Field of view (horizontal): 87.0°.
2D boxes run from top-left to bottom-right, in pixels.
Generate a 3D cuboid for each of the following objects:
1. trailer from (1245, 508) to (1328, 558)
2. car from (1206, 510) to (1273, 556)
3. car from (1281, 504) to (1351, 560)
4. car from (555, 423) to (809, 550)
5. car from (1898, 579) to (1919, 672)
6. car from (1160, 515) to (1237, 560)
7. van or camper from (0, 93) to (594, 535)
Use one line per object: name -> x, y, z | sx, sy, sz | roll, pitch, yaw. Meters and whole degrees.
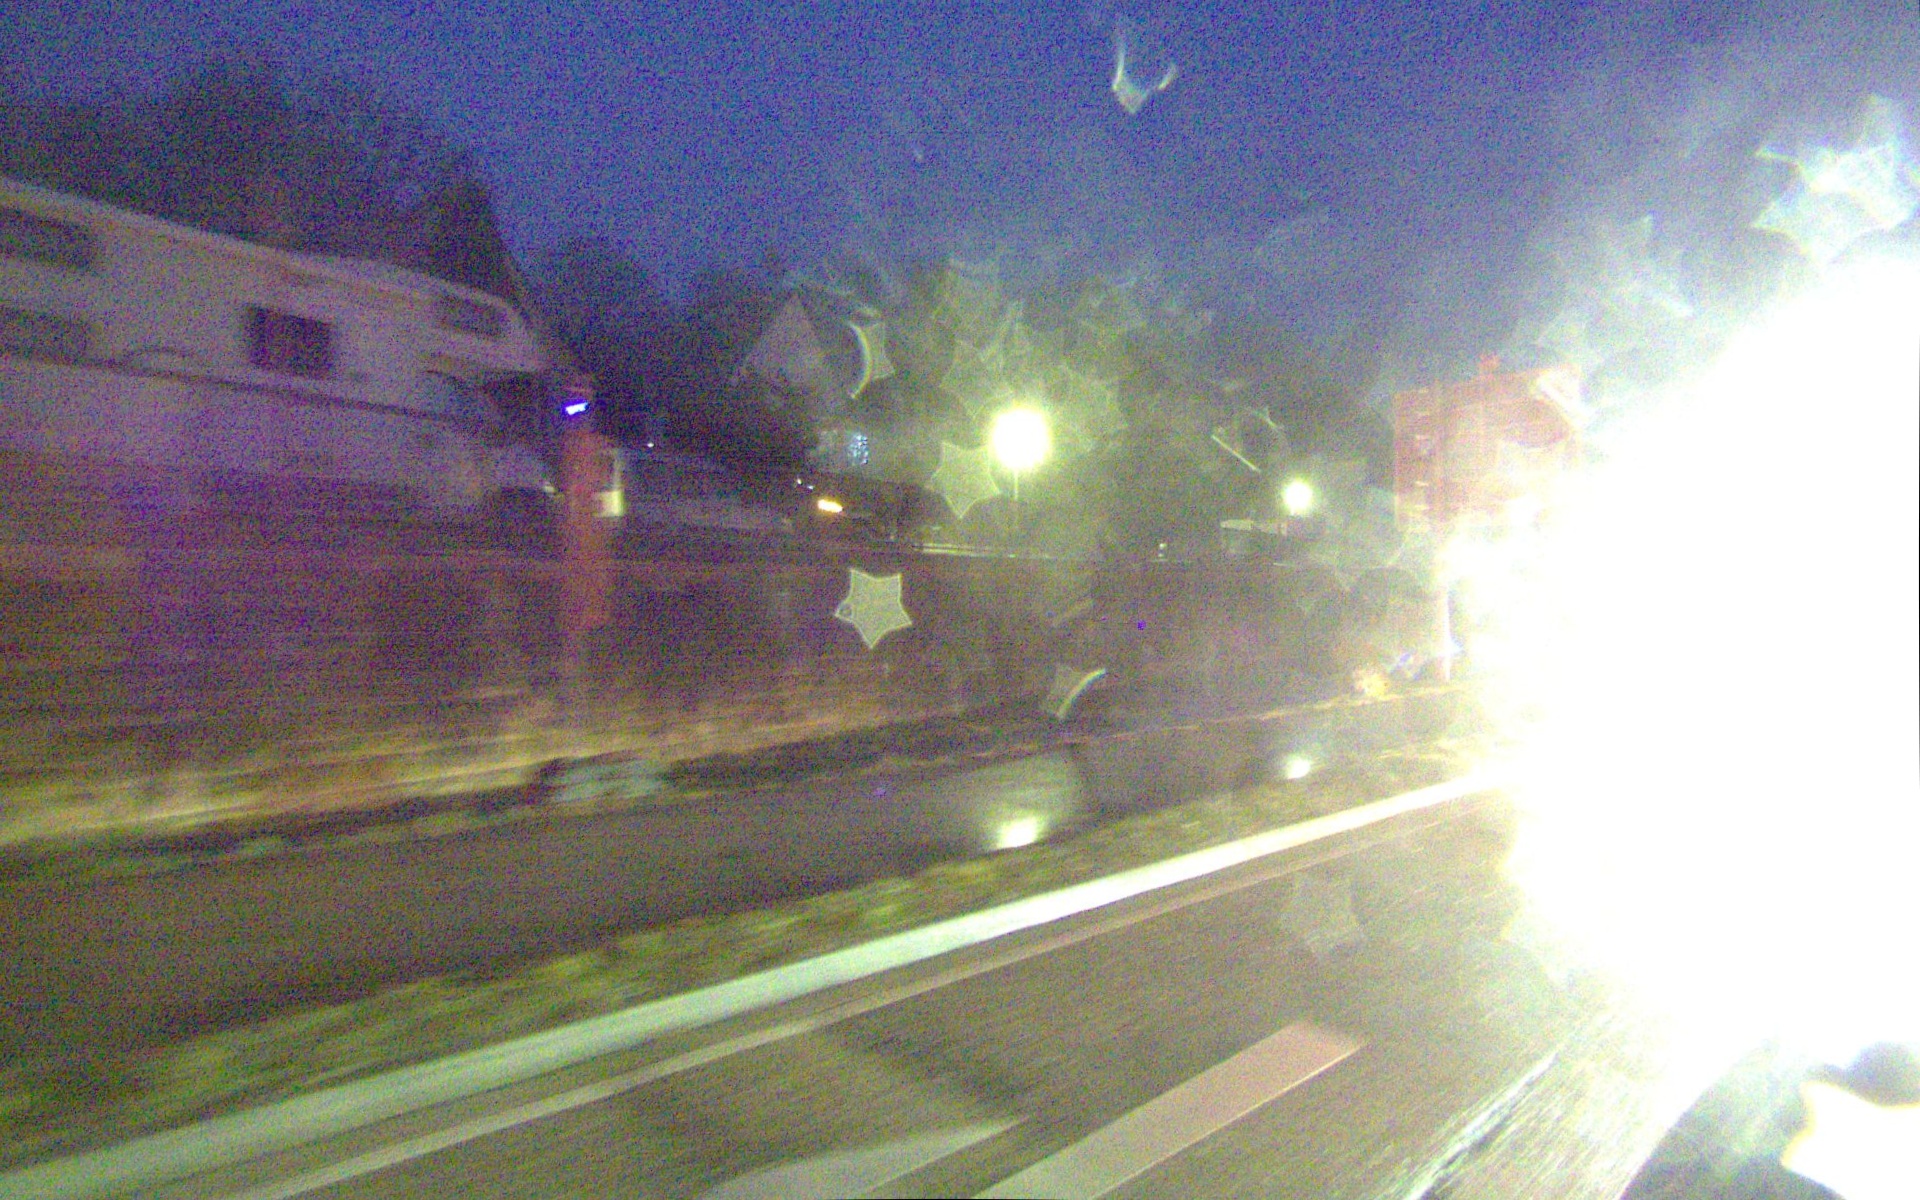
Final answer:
trailer -> 15.619, -3.128, 48.216 | 2.219, 2.097, 5.649 | 1, 1, 35
car -> 11.647, -2.724, 41.958 | 1.606, 1.660, 3.953 | 0, 1, 33
car -> 18.563, -3.457, 52.633 | 2.107, 2.668, 5.383 | 1, 1, 35
car -> -4.457, -1.748, 16.829 | 1.628, 1.638, 4.087 | 0, 0, 32
car -> 20.998, 0.515, 20.985 | 4.627, 1.841, 1.758 | 1, -1, -41
car -> 9.041, -2.316, 38.133 | 1.606, 1.491, 3.953 | 0, 1, 33
van or camper -> -7.084, -2.303, 10.096 | 2.567, 2.944, 6.291 | 1, 1, 30
